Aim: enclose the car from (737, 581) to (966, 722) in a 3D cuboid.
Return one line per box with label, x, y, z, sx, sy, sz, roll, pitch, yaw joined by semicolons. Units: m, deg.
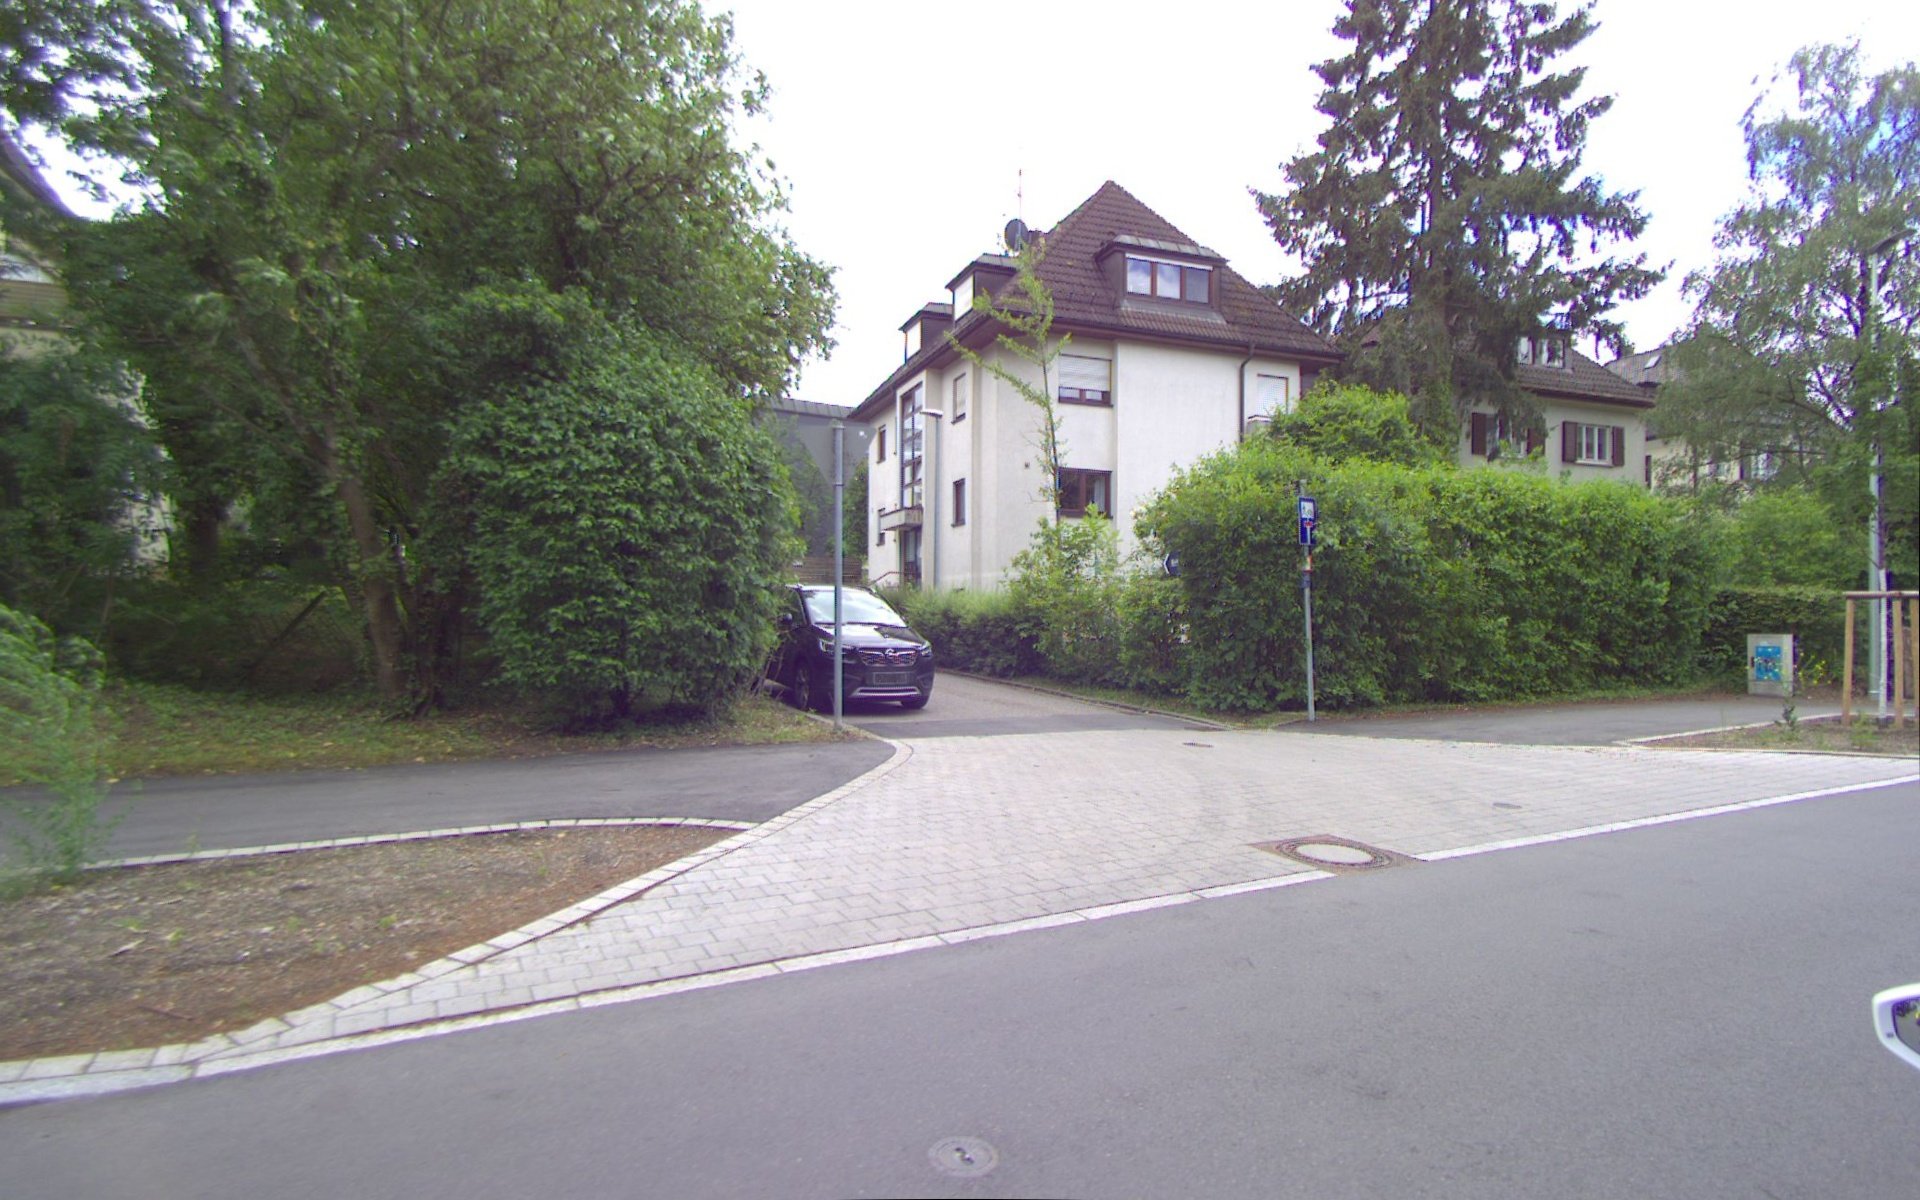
car;-1.675;0.596;14.074;1.845;1.614;3.971;1;1;-28
